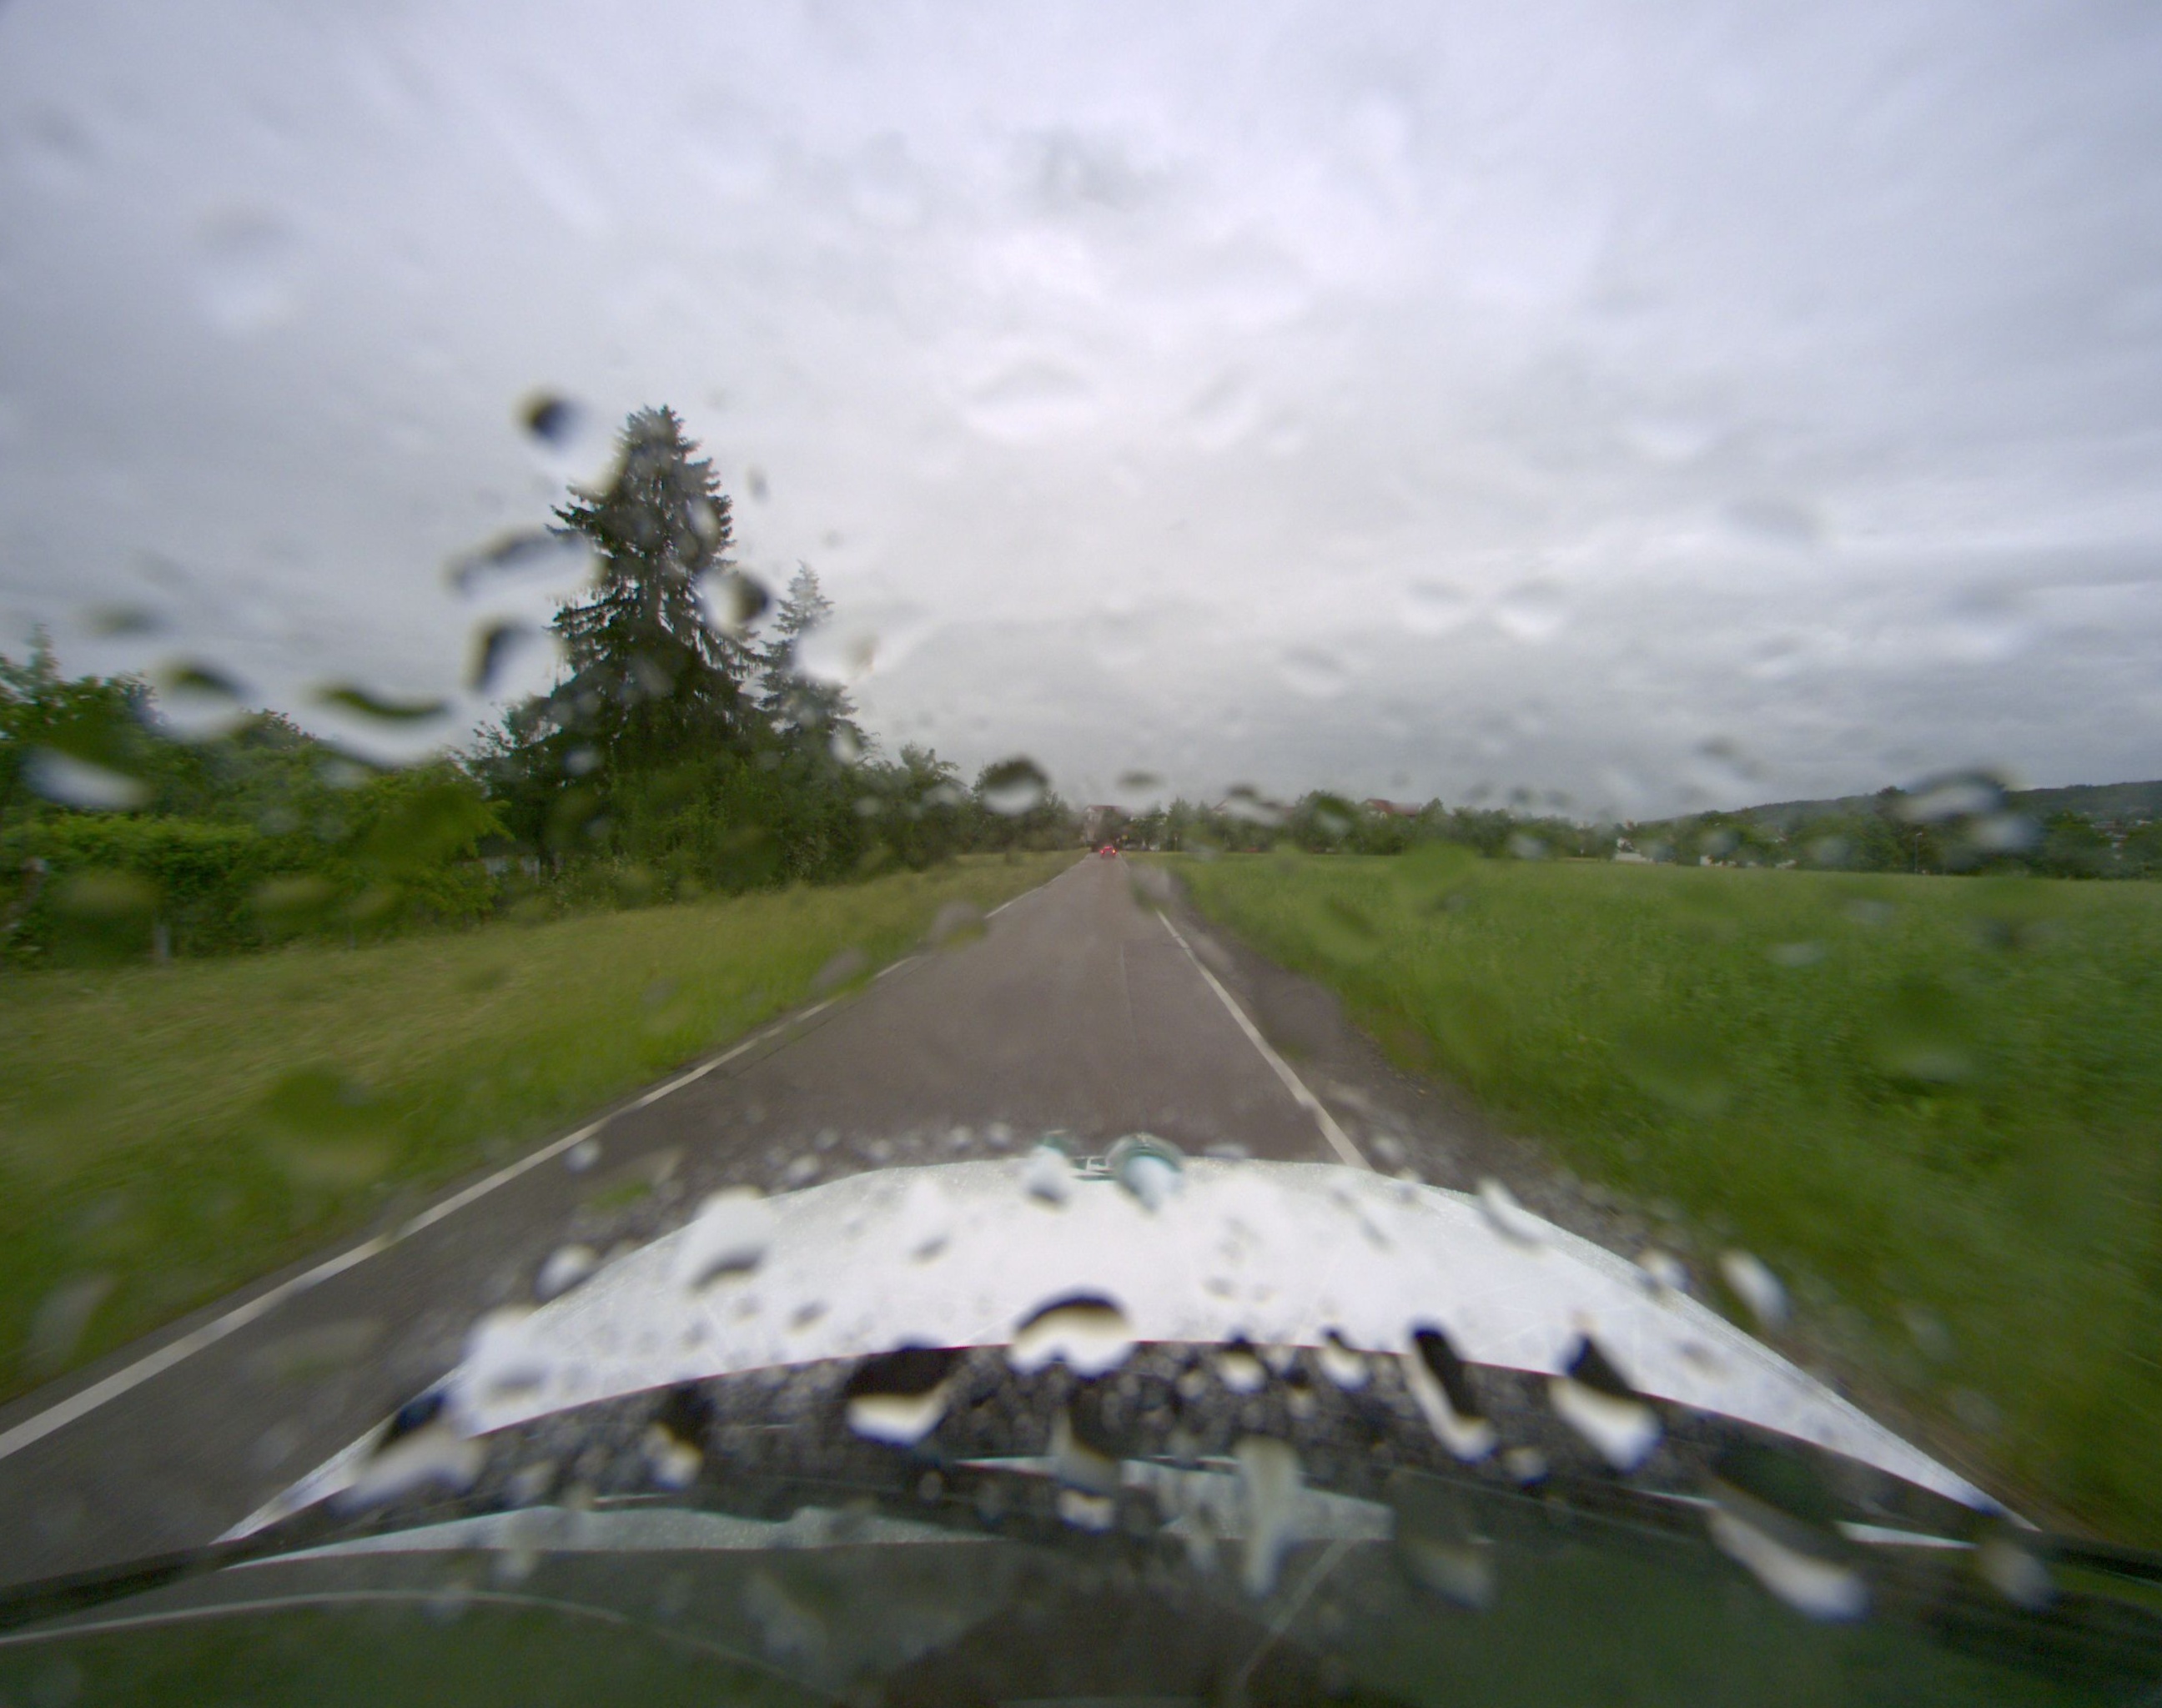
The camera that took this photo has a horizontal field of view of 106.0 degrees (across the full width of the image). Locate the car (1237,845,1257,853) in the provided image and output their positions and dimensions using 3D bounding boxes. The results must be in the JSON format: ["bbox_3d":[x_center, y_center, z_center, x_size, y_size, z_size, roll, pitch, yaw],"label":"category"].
[{"bbox_3d":[28.712,-0.806,140.851,3.169,1.371,1.578,0,-1,15],"label":"car"}]

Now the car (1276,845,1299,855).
[{"bbox_3d":[35.189,-0.677,138.902,3.682,1.564,1.617,0,-1,15],"label":"car"}]

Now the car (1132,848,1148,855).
[{"bbox_3d":[12.820,-0.521,176.324,1.645,1.546,4.025,-1,-1,37],"label":"car"}]

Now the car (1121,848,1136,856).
[{"bbox_3d":[10.042,-0.460,171.782,1.645,1.546,4.023,-1,-1,27],"label":"car"}]

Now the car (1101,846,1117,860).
[{"bbox_3d":[3.357,-0.153,98.231,1.807,1.594,4.003,0,-1,3],"label":"car"}]

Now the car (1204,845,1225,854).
[{"bbox_3d":[23.309,-0.791,142.284,3.365,1.371,1.554,0,-1,15],"label":"car"}]
